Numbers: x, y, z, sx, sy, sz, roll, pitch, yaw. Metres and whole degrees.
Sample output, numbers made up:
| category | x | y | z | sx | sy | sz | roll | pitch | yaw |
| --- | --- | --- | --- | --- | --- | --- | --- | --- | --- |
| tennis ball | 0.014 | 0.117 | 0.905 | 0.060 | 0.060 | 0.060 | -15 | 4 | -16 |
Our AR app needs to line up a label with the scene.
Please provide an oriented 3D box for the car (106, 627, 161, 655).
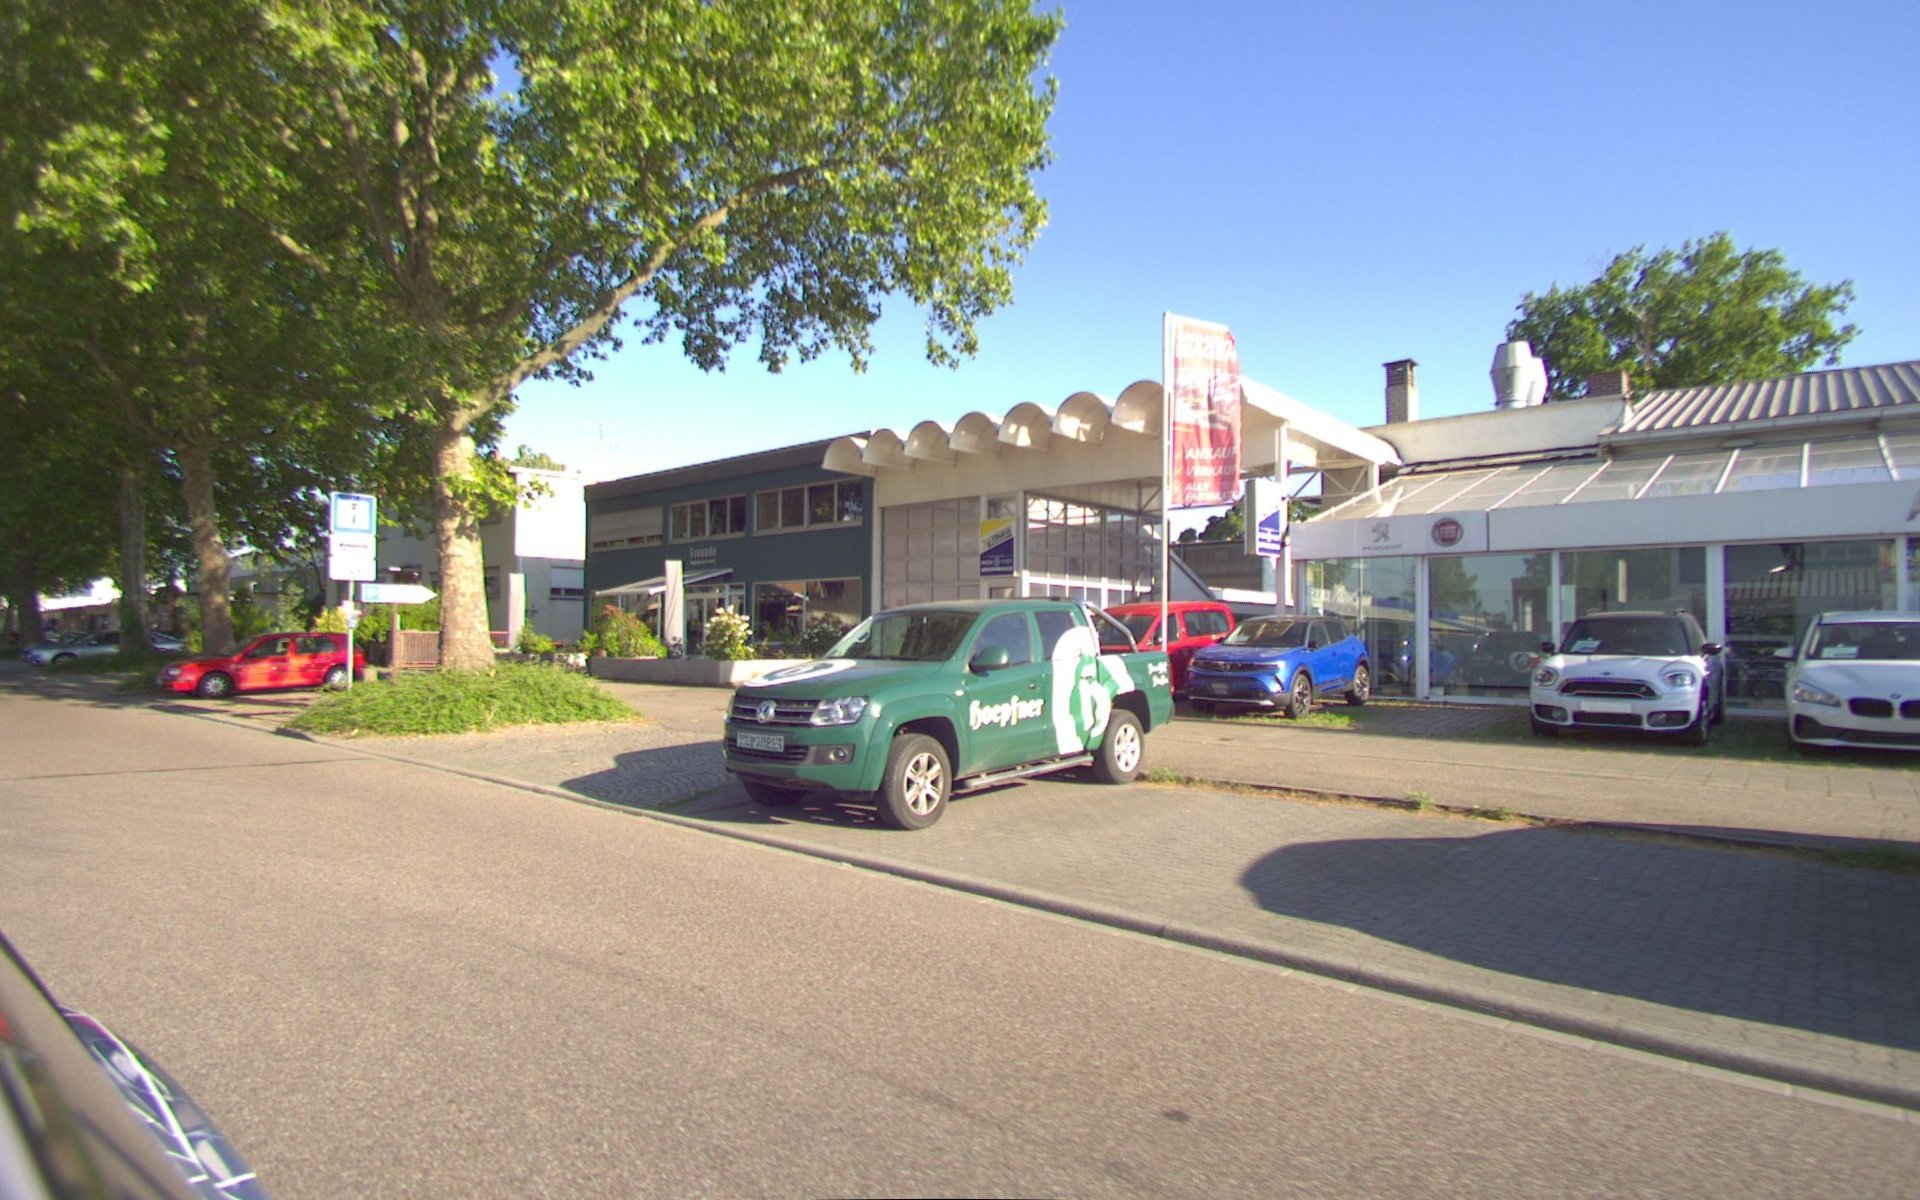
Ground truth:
| category | x | y | z | sx | sy | sz | roll | pitch | yaw |
| --- | --- | --- | --- | --- | --- | --- | --- | --- | --- |
| car | -48.979 | 2.386 | 59.920 | 4.273 | 1.588 | 1.972 | -1 | -1 | 43 |

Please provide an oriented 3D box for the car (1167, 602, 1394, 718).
| category | x | y | z | sx | sy | sz | roll | pitch | yaw |
| --- | --- | --- | --- | --- | --- | --- | --- | --- | --- |
| car | 5.437 | 0.883 | 16.765 | 1.998 | 1.646 | 4.666 | -1 | -1 | 39 |

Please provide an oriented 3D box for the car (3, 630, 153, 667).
| category | x | y | z | sx | sy | sz | roll | pitch | yaw |
| --- | --- | --- | --- | --- | --- | --- | --- | --- | --- |
| car | -35.770 | 1.955 | 41.140 | 1.998 | 1.433 | 4.311 | -2 | -3 | 39 |

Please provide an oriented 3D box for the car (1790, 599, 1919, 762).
| category | x | y | z | sx | sy | sz | roll | pitch | yaw |
| --- | --- | --- | --- | --- | --- | --- | --- | --- | --- |
| car | 10.937 | 0.807 | 11.765 | 1.927 | 1.604 | 4.615 | -1 | -1 | 39 |

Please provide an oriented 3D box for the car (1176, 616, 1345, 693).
| category | x | y | z | sx | sy | sz | roll | pitch | yaw |
| --- | --- | --- | --- | --- | --- | --- | --- | --- | --- |
| car | 6.843 | 1.260 | 22.684 | 1.998 | 1.527 | 4.698 | -1 | -5 | 39 |

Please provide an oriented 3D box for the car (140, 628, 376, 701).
| category | x | y | z | sx | sy | sz | roll | pitch | yaw |
| --- | --- | --- | --- | --- | --- | --- | --- | --- | --- |
| car | -16.460 | 1.434 | 23.893 | 1.999 | 1.457 | 4.252 | -1 | -1 | 40 |

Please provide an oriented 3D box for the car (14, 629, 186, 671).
| category | x | y | z | sx | sy | sz | roll | pitch | yaw |
| --- | --- | --- | --- | --- | --- | --- | --- | --- | --- |
| car | -31.480 | 1.820 | 37.173 | 1.999 | 1.433 | 4.552 | -3 | -3 | 40 |

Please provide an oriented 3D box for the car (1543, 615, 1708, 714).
| category | x | y | z | sx | sy | sz | roll | pitch | yaw |
| --- | --- | --- | --- | --- | --- | --- | --- | --- | --- |
| car | 12.007 | 1.168 | 18.109 | 1.998 | 1.527 | 4.698 | -1 | -5 | 39 |

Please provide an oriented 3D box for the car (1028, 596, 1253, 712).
| category | x | y | z | sx | sy | sz | roll | pitch | yaw |
| --- | --- | --- | --- | --- | --- | --- | --- | --- | --- |
| car | 3.418 | 0.884 | 18.413 | 1.998 | 1.833 | 4.698 | -1 | -1 | 39 |

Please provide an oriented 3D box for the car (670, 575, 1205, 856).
| category | x | y | z | sx | sy | sz | roll | pitch | yaw |
| --- | --- | --- | --- | --- | --- | --- | --- | --- | --- |
| car | 0.116 | 0.820 | 9.609 | 2.200 | 1.913 | 5.205 | -1 | -1 | 40 |

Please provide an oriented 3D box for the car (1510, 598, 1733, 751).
| category | x | y | z | sx | sy | sz | roll | pitch | yaw |
| --- | --- | --- | --- | --- | --- | --- | --- | --- | --- |
| car | 8.928 | 0.840 | 13.466 | 1.998 | 1.655 | 4.671 | -1 | -1 | 39 |
